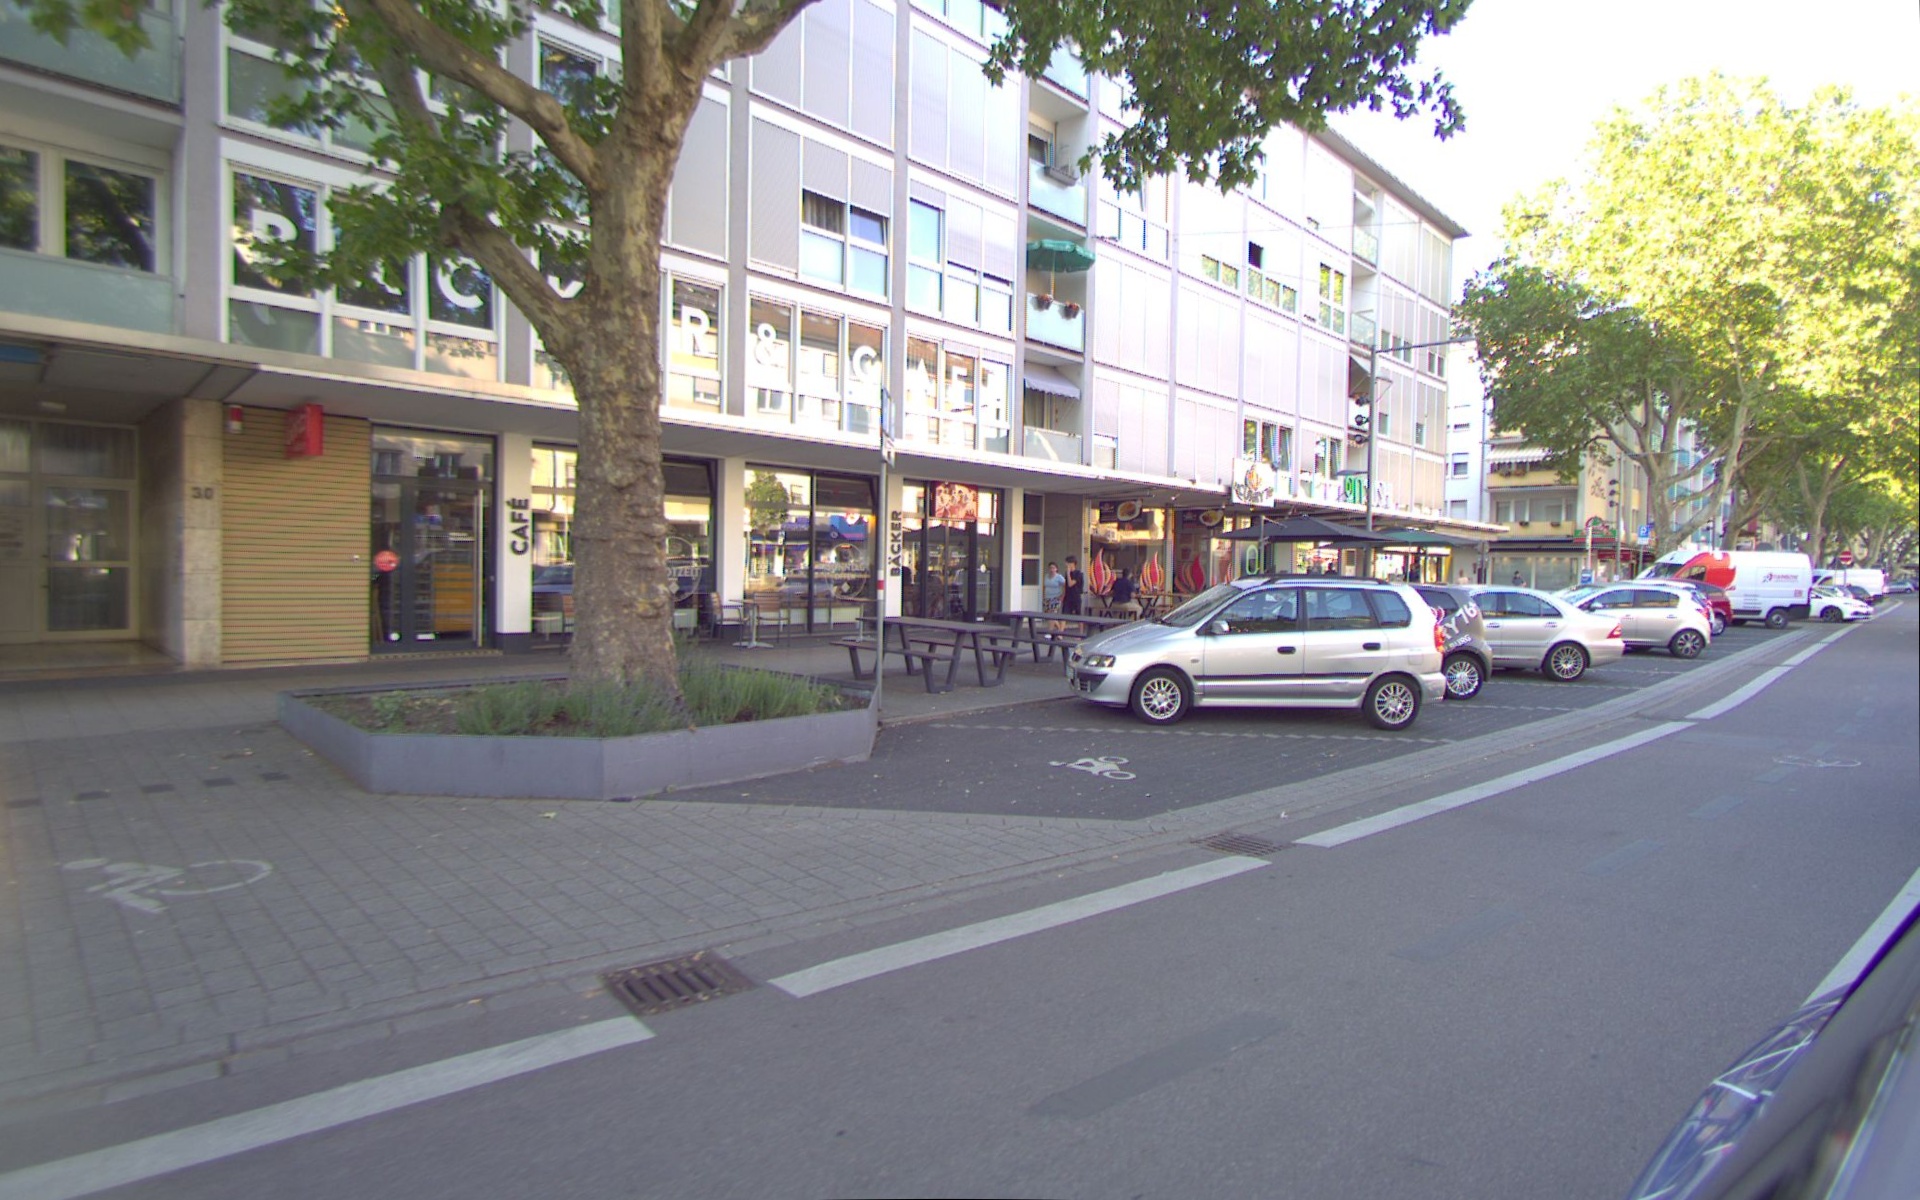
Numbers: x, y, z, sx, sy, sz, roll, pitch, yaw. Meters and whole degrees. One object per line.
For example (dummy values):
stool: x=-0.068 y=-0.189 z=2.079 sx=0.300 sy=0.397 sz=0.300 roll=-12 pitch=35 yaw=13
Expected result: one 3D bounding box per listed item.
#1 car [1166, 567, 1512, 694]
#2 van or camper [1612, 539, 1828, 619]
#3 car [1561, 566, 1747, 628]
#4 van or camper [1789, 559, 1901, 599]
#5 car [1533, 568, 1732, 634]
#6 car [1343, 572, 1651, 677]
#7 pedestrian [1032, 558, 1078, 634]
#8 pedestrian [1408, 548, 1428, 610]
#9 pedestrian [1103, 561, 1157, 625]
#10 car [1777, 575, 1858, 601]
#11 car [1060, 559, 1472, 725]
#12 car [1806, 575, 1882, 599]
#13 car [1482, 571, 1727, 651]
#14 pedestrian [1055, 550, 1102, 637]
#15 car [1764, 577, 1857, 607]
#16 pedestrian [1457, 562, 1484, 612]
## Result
car: x=4.981 y=0.365 z=13.685 sx=3.922 sy=1.525 sz=1.811 roll=1 pitch=2 yaw=-3
van or camper: x=24.982 y=-0.710 z=33.462 sx=5.366 sy=2.499 sz=1.998 roll=1 pitch=2 yaw=5
car: x=19.538 y=-0.117 z=28.631 sx=3.929 sy=1.582 sz=1.658 roll=1 pitch=3 yaw=5
van or camper: x=57.892 y=-1.402 z=66.294 sx=5.363 sy=2.499 sz=1.999 roll=1 pitch=2 yaw=3
car: x=17.385 y=-0.009 z=26.315 sx=3.929 sy=1.541 sz=1.658 roll=1 pitch=3 yaw=5
car: x=8.422 y=0.340 z=16.142 sx=3.926 sy=1.453 sz=1.660 roll=1 pitch=3 yaw=2
pedestrian: x=1.852 y=-0.094 z=19.647 sx=0.537 sy=1.417 sz=0.676 roll=5 pitch=4 yaw=44
pedestrian: x=15.287 y=-0.697 z=33.762 sx=0.547 sy=2.039 sz=0.571 roll=-1 pitch=0 yaw=31
pedestrian: x=3.819 y=-0.171 z=22.774 sx=0.945 sy=1.379 sz=0.750 roll=-1 pitch=2 yaw=-41
car: x=50.002 y=-0.725 z=59.047 sx=3.272 sy=1.363 sz=1.530 roll=1 pitch=3 yaw=5
car: x=3.219 y=0.400 z=11.206 sx=3.922 sy=1.626 sz=1.811 roll=1 pitch=2 yaw=-3
car: x=55.593 y=-0.826 z=63.690 sx=3.272 sy=1.363 sz=1.530 roll=1 pitch=3 yaw=5
car: x=13.361 y=0.191 z=21.173 sx=3.929 sy=1.453 sz=1.658 roll=1 pitch=3 yaw=5
pedestrian: x=2.251 y=-0.137 z=19.244 sx=0.537 sy=1.610 sz=0.676 roll=5 pitch=4 yaw=44
car: x=43.604 y=-0.428 z=51.937 sx=3.272 sy=1.363 sz=1.530 roll=1 pitch=3 yaw=5
pedestrian: x=16.929 y=-0.432 z=33.574 sx=0.537 sy=1.610 sz=0.676 roll=5 pitch=4 yaw=44
